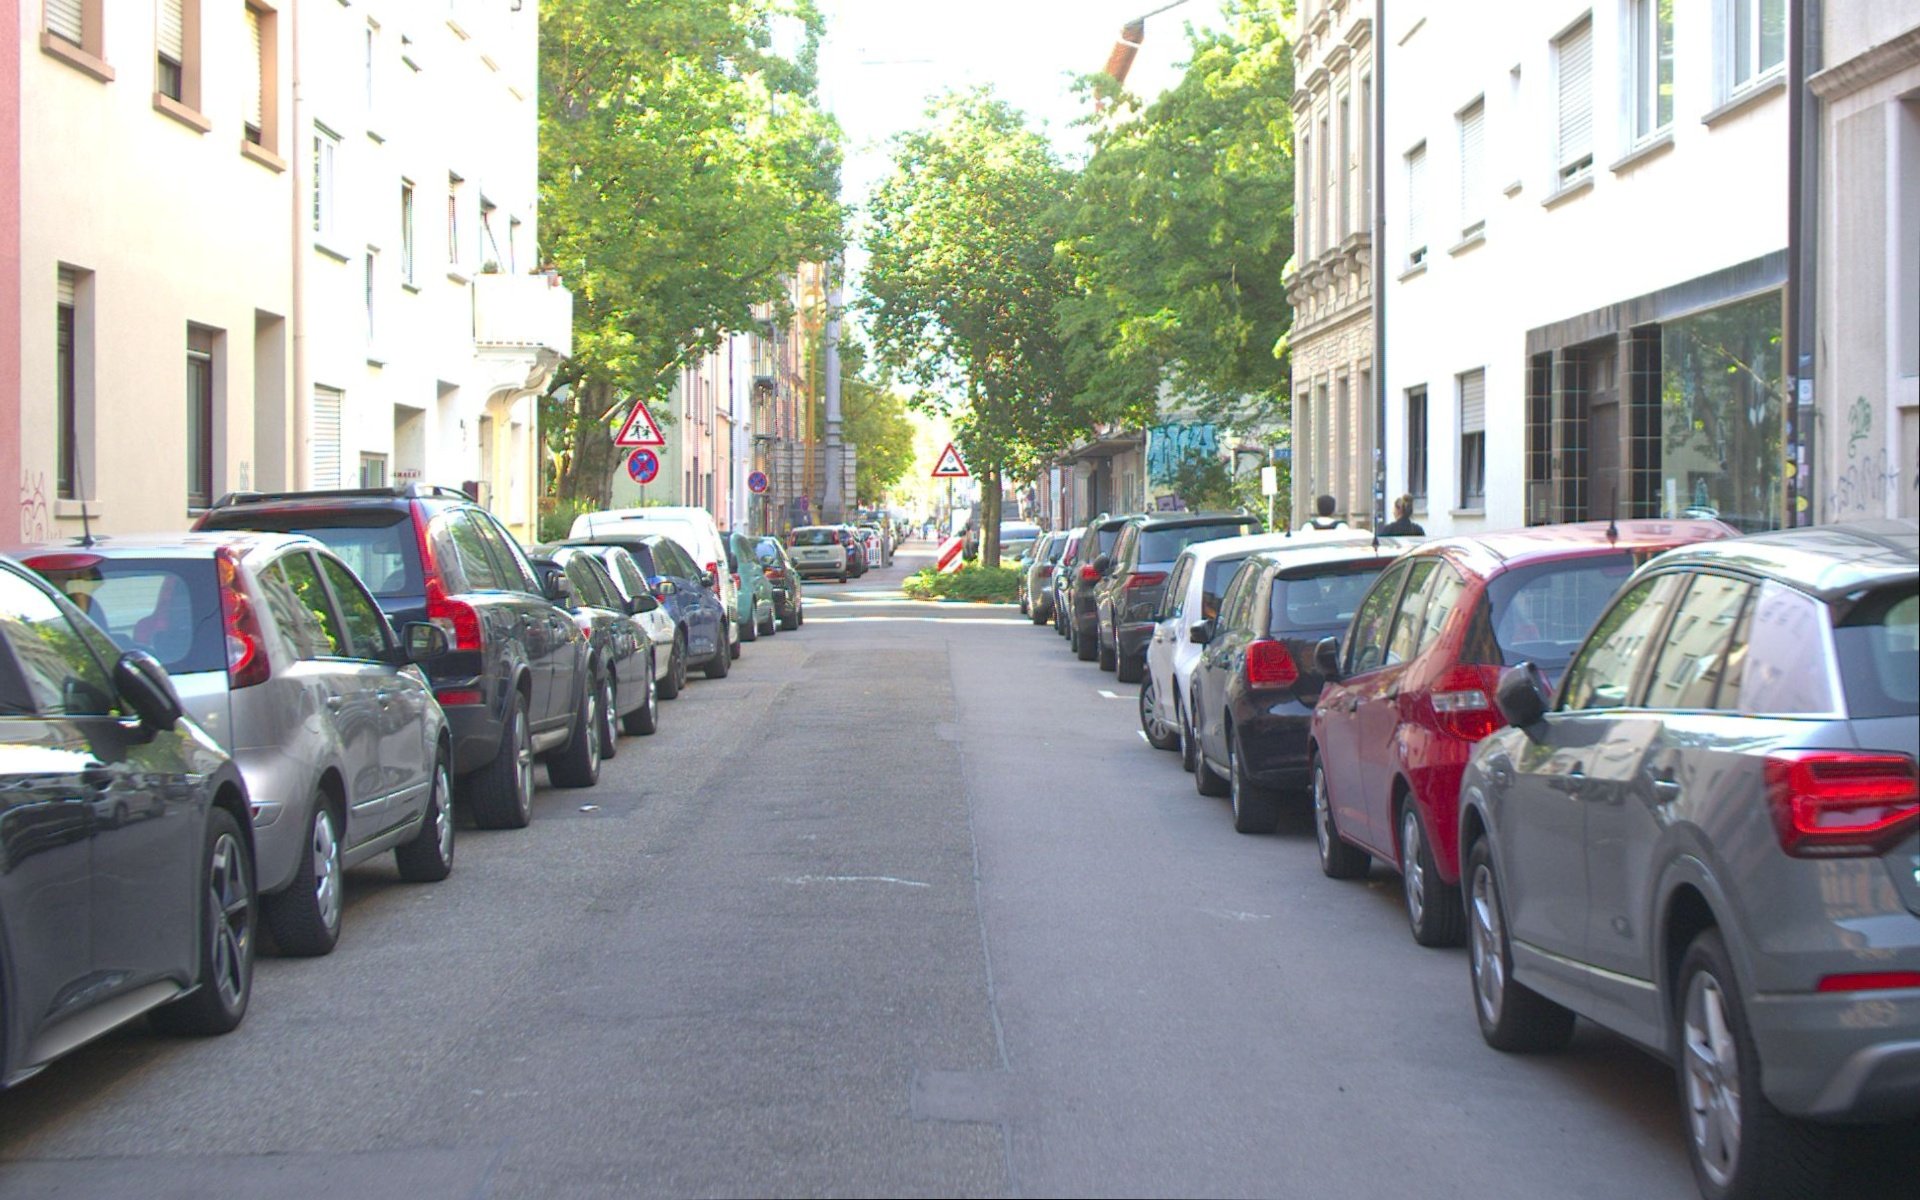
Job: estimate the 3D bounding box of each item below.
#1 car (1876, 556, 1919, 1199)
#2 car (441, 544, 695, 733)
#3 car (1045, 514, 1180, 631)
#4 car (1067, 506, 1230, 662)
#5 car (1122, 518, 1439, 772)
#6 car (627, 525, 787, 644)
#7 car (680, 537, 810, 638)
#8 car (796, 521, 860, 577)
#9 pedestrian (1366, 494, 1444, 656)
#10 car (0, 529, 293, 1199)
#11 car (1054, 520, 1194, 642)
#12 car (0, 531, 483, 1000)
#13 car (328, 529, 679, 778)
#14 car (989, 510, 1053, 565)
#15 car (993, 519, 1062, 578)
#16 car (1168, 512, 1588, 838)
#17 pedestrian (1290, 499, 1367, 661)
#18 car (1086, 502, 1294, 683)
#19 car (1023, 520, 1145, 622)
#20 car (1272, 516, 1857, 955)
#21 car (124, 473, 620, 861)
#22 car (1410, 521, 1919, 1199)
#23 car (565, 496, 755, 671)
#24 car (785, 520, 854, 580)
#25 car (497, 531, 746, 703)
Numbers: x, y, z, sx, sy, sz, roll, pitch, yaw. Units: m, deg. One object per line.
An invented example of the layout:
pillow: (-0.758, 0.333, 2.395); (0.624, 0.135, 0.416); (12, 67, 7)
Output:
car: (2.520, 0.698, 3.658); (1.744, 1.501, 4.358); (-2, 2, -2)
car: (-3.273, 0.271, 29.364); (1.673, 1.383, 4.182); (-2, 2, 0)
car: (2.176, -0.435, 49.910); (1.676, 1.556, 3.796); (-2, 2, -1)
car: (2.174, -0.202, 40.442); (1.676, 1.676, 4.095); (-2, 1, 1)
car: (2.094, 0.232, 23.420); (1.676, 1.501, 3.938); (-2, 2, -1)
car: (-3.429, -0.244, 47.162); (1.670, 1.464, 3.820); (-2, 2, 3)
car: (-3.180, -0.216, 51.436); (1.670, 1.356, 4.049); (-2, 2, -1)
car: (-3.744, -1.471, 97.874); (1.676, 1.482, 4.095); (-2, 2, -1)
pedestrian: (4.618, -0.265, 35.699); (0.685, 1.654, 0.717); (-1, 1, 0)
car: (-3.044, 0.627, 8.868); (1.695, 1.516, 4.096); (-2, 2, 1)
car: (2.139, -0.290, 45.698); (1.566, 1.478, 3.619); (-2, 2, -1)
car: (-3.069, 0.536, 13.628); (1.656, 1.516, 3.944); (-2, 2, 1)
car: (-3.118, 0.303, 24.334); (1.743, 1.501, 4.346); (-2, 2, 1)
car: (1.766, -1.835, 100.221); (1.676, 1.482, 3.638); (-2, 2, -1)
car: (1.825, -1.418, 93.816); (1.676, 1.482, 3.638); (-2, 2, -1)
car: (2.148, 0.315, 18.627); (1.676, 1.501, 3.938); (-2, 2, -1)
pedestrian: (3.820, -0.215, 35.655); (0.685, 1.654, 0.717); (-1, 1, 0)
car: (2.310, -0.119, 35.490); (1.676, 1.621, 4.251); (-5, 1, -1)
car: (1.944, -0.498, 54.815); (1.676, 1.482, 4.095); (-2, 2, -1)
car: (2.363, 0.435, 14.436); (1.598, 1.501, 4.185); (-2, 2, -1)
car: (-3.068, 0.259, 18.923); (1.743, 1.805, 4.672); (-2, 2, 1)
car: (2.348, 0.589, 8.796); (1.744, 1.501, 4.021); (-2, 2, -1)
car: (-3.291, -0.234, 38.417); (1.765, 1.779, 4.039); (-2, 2, -1)
car: (-3.753, -1.357, 92.358); (1.676, 1.482, 4.095); (-2, 2, -1)
car: (-3.254, 0.117, 33.790); (1.674, 1.481, 3.991); (-2, 2, 5)
